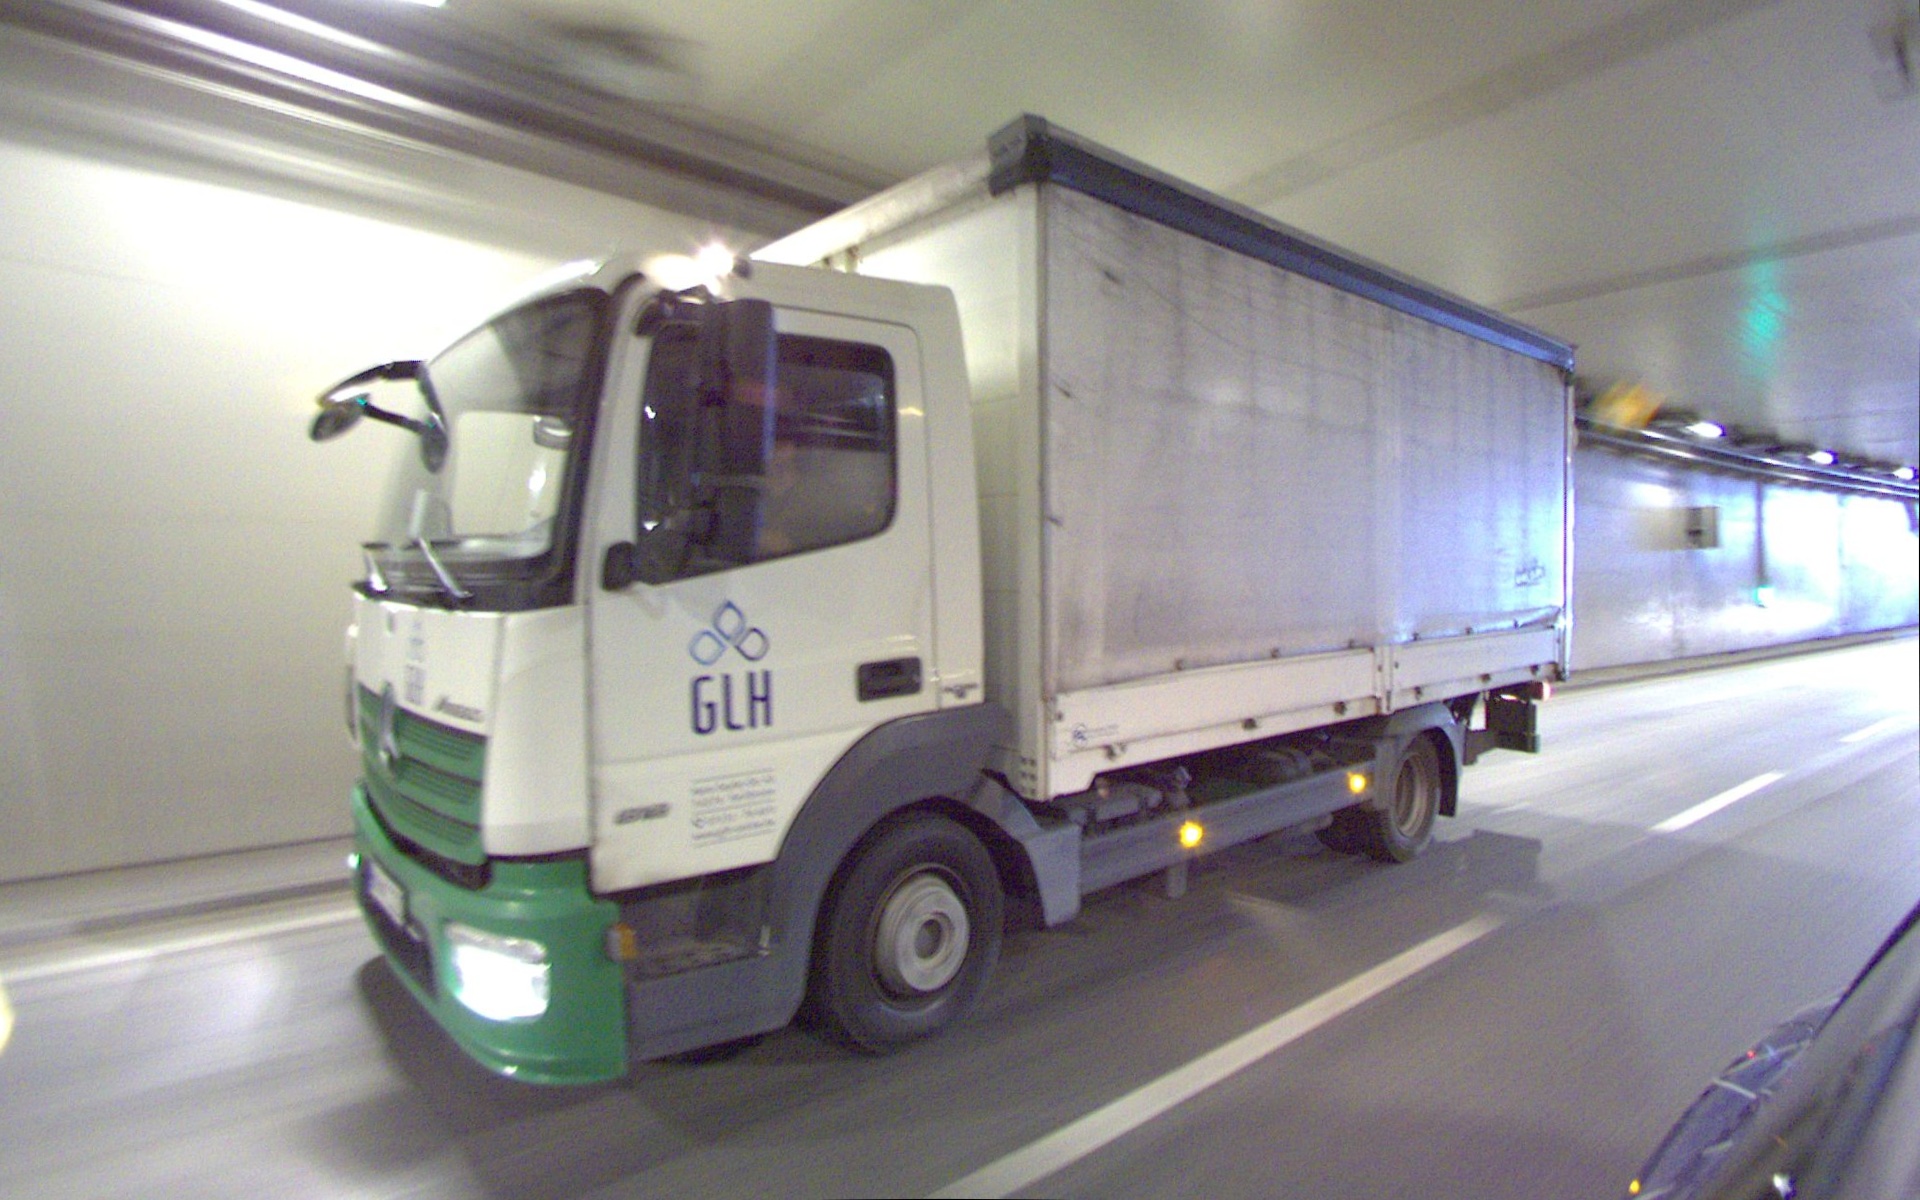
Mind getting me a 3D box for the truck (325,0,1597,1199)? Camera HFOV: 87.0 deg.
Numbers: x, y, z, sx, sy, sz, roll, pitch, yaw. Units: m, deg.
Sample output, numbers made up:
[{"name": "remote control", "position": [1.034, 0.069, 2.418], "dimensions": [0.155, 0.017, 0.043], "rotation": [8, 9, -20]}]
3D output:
[{"name": "truck", "position": [0.892, -0.203, 5.567], "dimensions": [7.120, 3.221, 2.557], "rotation": [0, -1, -42]}]
